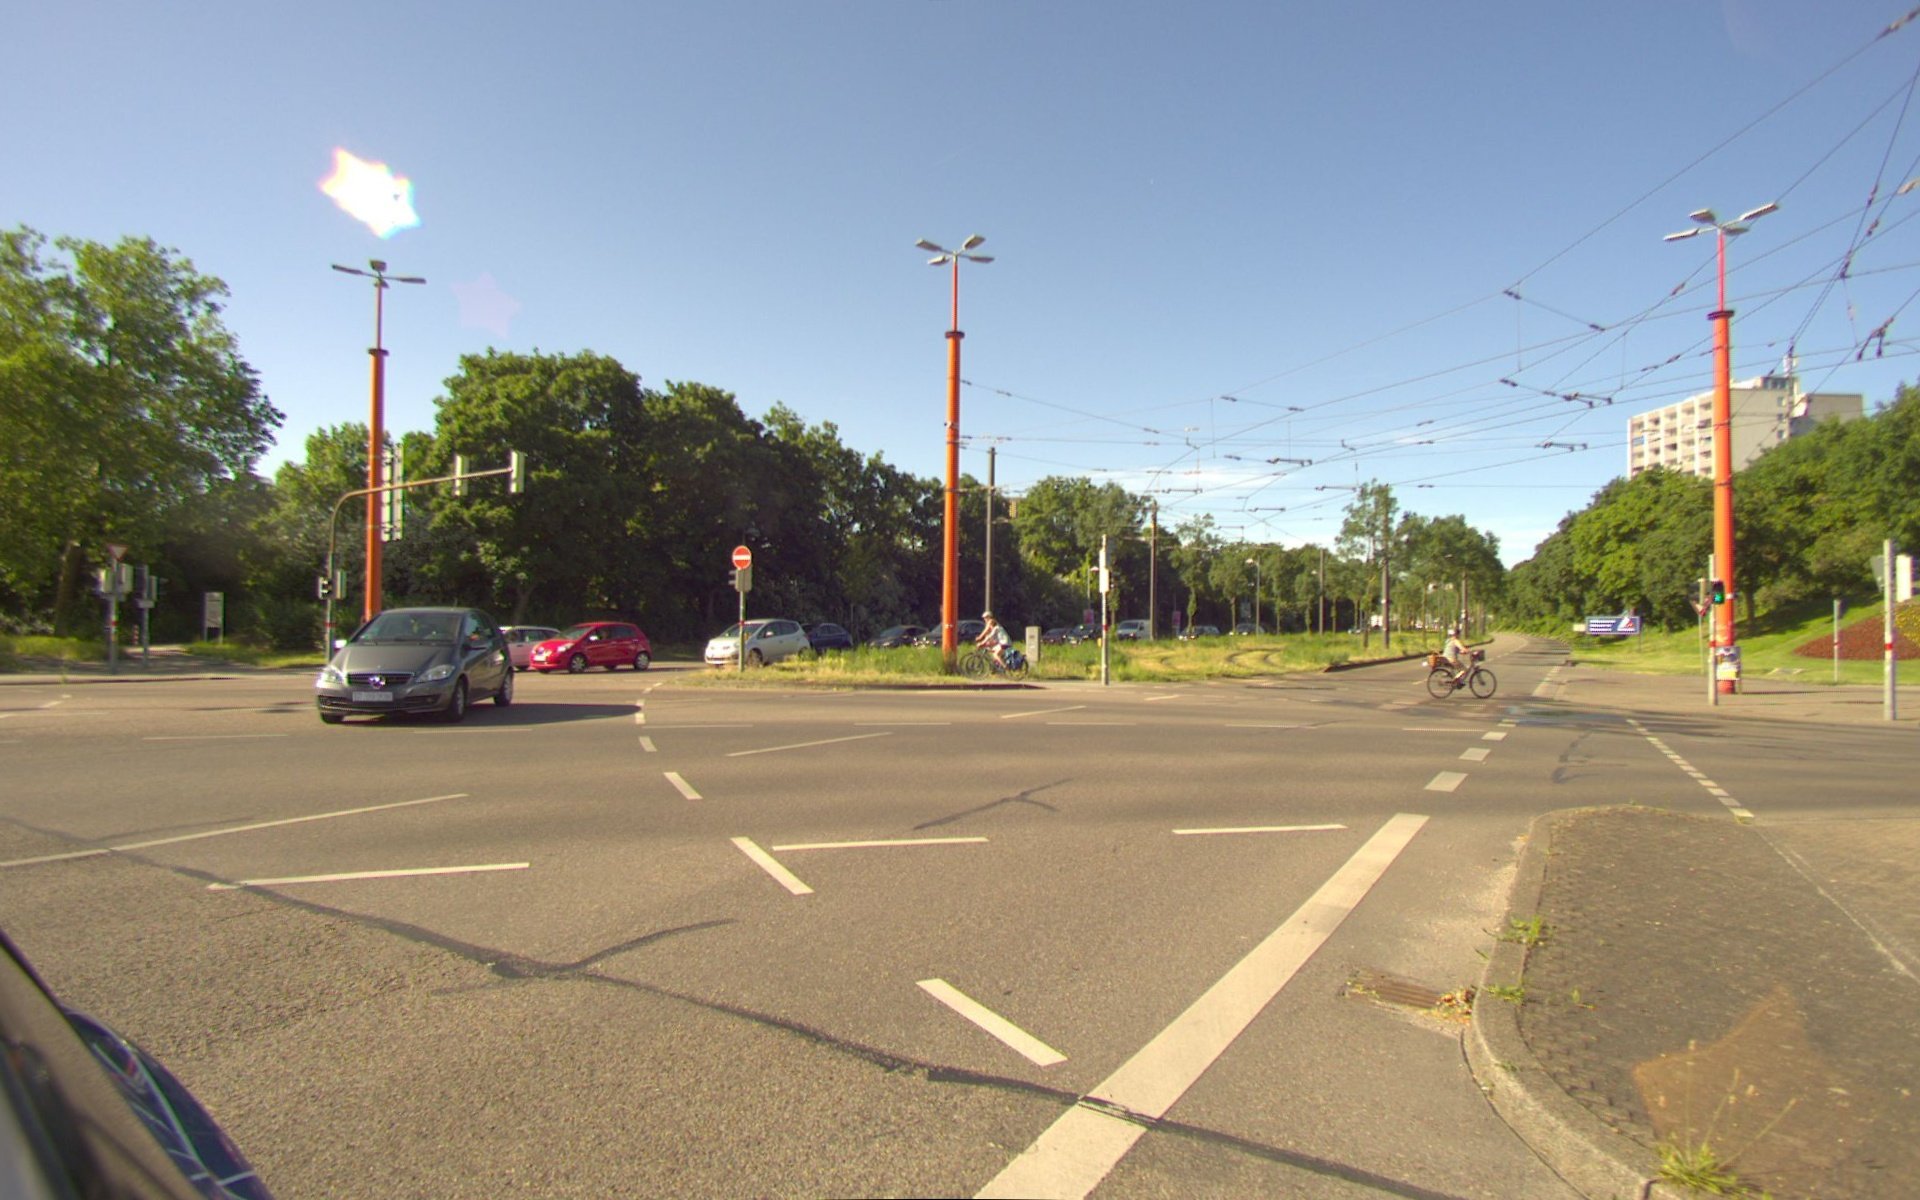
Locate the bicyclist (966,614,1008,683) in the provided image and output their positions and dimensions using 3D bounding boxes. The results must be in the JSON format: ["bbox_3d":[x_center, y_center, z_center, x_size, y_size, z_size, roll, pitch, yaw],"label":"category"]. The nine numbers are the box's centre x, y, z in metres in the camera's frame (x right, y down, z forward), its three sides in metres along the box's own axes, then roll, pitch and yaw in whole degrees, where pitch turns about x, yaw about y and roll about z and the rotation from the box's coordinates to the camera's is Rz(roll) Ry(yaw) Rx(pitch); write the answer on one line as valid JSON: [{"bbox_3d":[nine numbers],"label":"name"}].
[{"bbox_3d":[0.748,1.339,28.261,0.917,1.881,0.887,-2,-2,19],"label":"bicyclist"}]

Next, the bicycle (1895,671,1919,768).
[{"bbox_3d":[11.059,1.346,10.911,0.687,1.080,1.903,-2,-2,20],"label":"bicycle"}]

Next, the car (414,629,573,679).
[{"bbox_3d":[-14.585,1.654,31.864,1.744,1.447,4.339,-2,-2,32],"label":"car"}]

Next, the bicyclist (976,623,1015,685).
[{"bbox_3d":[0.946,1.441,27.047,0.913,1.536,0.719,-2,4,9],"label":"bicyclist"}]

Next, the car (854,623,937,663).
[{"bbox_3d":[-2.824,1.894,44.977,1.744,1.674,3.958,-3,-3,31],"label":"car"}]

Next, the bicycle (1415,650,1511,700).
[{"bbox_3d":[12.008,1.782,24.194,1.887,1.139,0.741,-1,-2,-4],"label":"bicycle"}]

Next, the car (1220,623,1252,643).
[{"bbox_3d":[24.144,2.886,88.400,1.689,1.674,3.787,-3,-3,31],"label":"car"}]

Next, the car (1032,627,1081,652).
[{"bbox_3d":[6.228,2.534,65.091,1.648,1.541,3.855,-3,-3,31],"label":"car"}]

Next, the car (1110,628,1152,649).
[{"bbox_3d":[12.819,2.878,75.741,1.709,1.505,3.921,-2,-2,31],"label":"car"}]

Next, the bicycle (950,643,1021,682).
[{"bbox_3d":[0.702,1.737,28.251,1.902,1.080,0.575,-1,-2,21],"label":"bicycle"}]

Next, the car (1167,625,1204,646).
[{"bbox_3d":[17.400,2.731,77.906,1.626,1.577,3.772,-3,-3,31],"label":"car"}]

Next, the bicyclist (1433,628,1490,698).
[{"bbox_3d":[11.970,1.491,24.178,0.815,1.634,0.893,-1,-2,-5],"label":"bicyclist"}]

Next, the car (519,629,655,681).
[{"bbox_3d":[-11.335,1.656,30.945,1.680,1.457,3.688,-3,-3,30],"label":"car"}]

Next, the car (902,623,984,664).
[{"bbox_3d":[-0.682,1.840,43.466,1.744,1.674,3.958,-1,-2,31],"label":"car"}]

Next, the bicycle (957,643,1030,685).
[{"bbox_3d":[0.907,1.710,27.040,1.895,1.080,0.578,0,-2,11],"label":"bicycle"}]

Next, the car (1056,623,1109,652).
[{"bbox_3d":[7.486,2.264,61.797,1.744,1.674,3.958,-3,-3,31],"label":"car"}]

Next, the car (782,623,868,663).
[{"bbox_3d":[-5.993,1.911,45.448,1.744,1.674,3.958,-3,-3,31],"label":"car"}]

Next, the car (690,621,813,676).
[{"bbox_3d":[-6.720,1.560,32.992,1.744,1.674,3.958,-3,-3,31],"label":"car"}]

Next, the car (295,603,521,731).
[{"bbox_3d":[-8.018,0.929,15.140,1.722,1.653,4.008,1,-2,-9],"label":"car"}]
